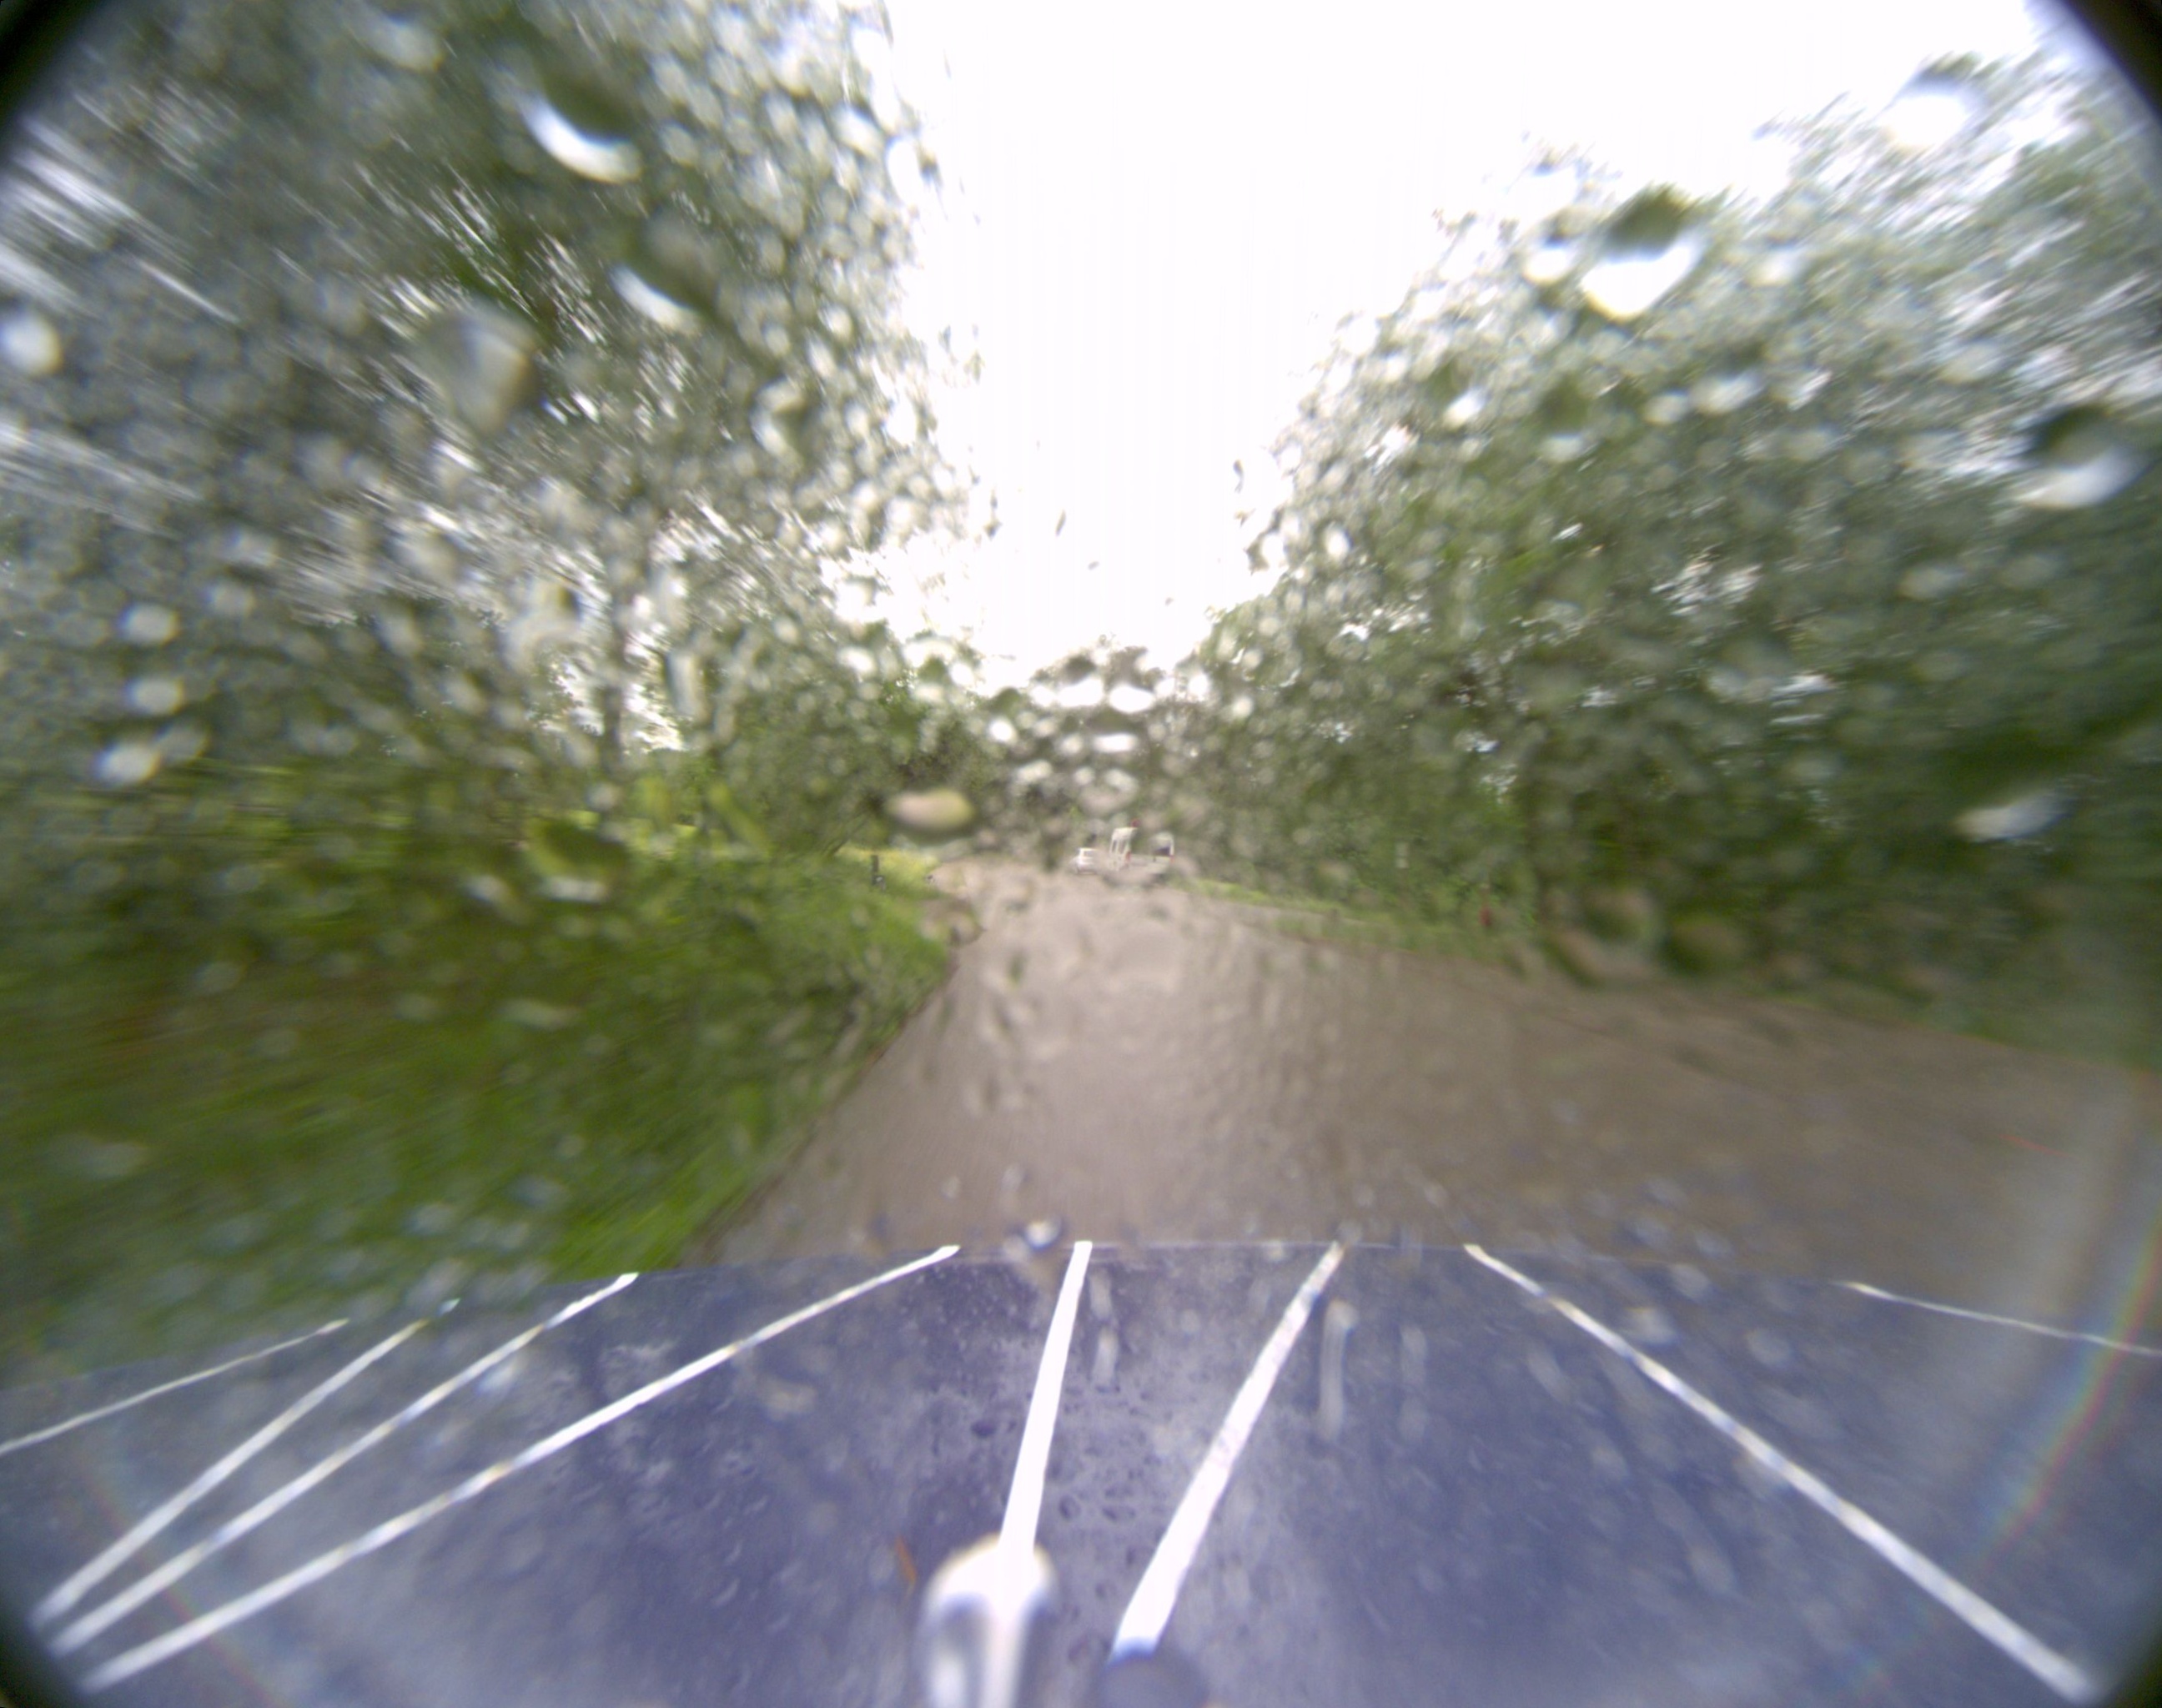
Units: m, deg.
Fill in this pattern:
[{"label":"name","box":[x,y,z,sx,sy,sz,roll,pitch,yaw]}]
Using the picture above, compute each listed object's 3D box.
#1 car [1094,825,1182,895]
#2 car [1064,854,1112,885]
[{"label":"car","box":[2.385,0.280,34.001,2.281,2.680,6.043,4,-1,-10]},{"label":"car","box":[0.351,0.886,43.718,1.868,1.586,4.491,3,-1,-10]}]
